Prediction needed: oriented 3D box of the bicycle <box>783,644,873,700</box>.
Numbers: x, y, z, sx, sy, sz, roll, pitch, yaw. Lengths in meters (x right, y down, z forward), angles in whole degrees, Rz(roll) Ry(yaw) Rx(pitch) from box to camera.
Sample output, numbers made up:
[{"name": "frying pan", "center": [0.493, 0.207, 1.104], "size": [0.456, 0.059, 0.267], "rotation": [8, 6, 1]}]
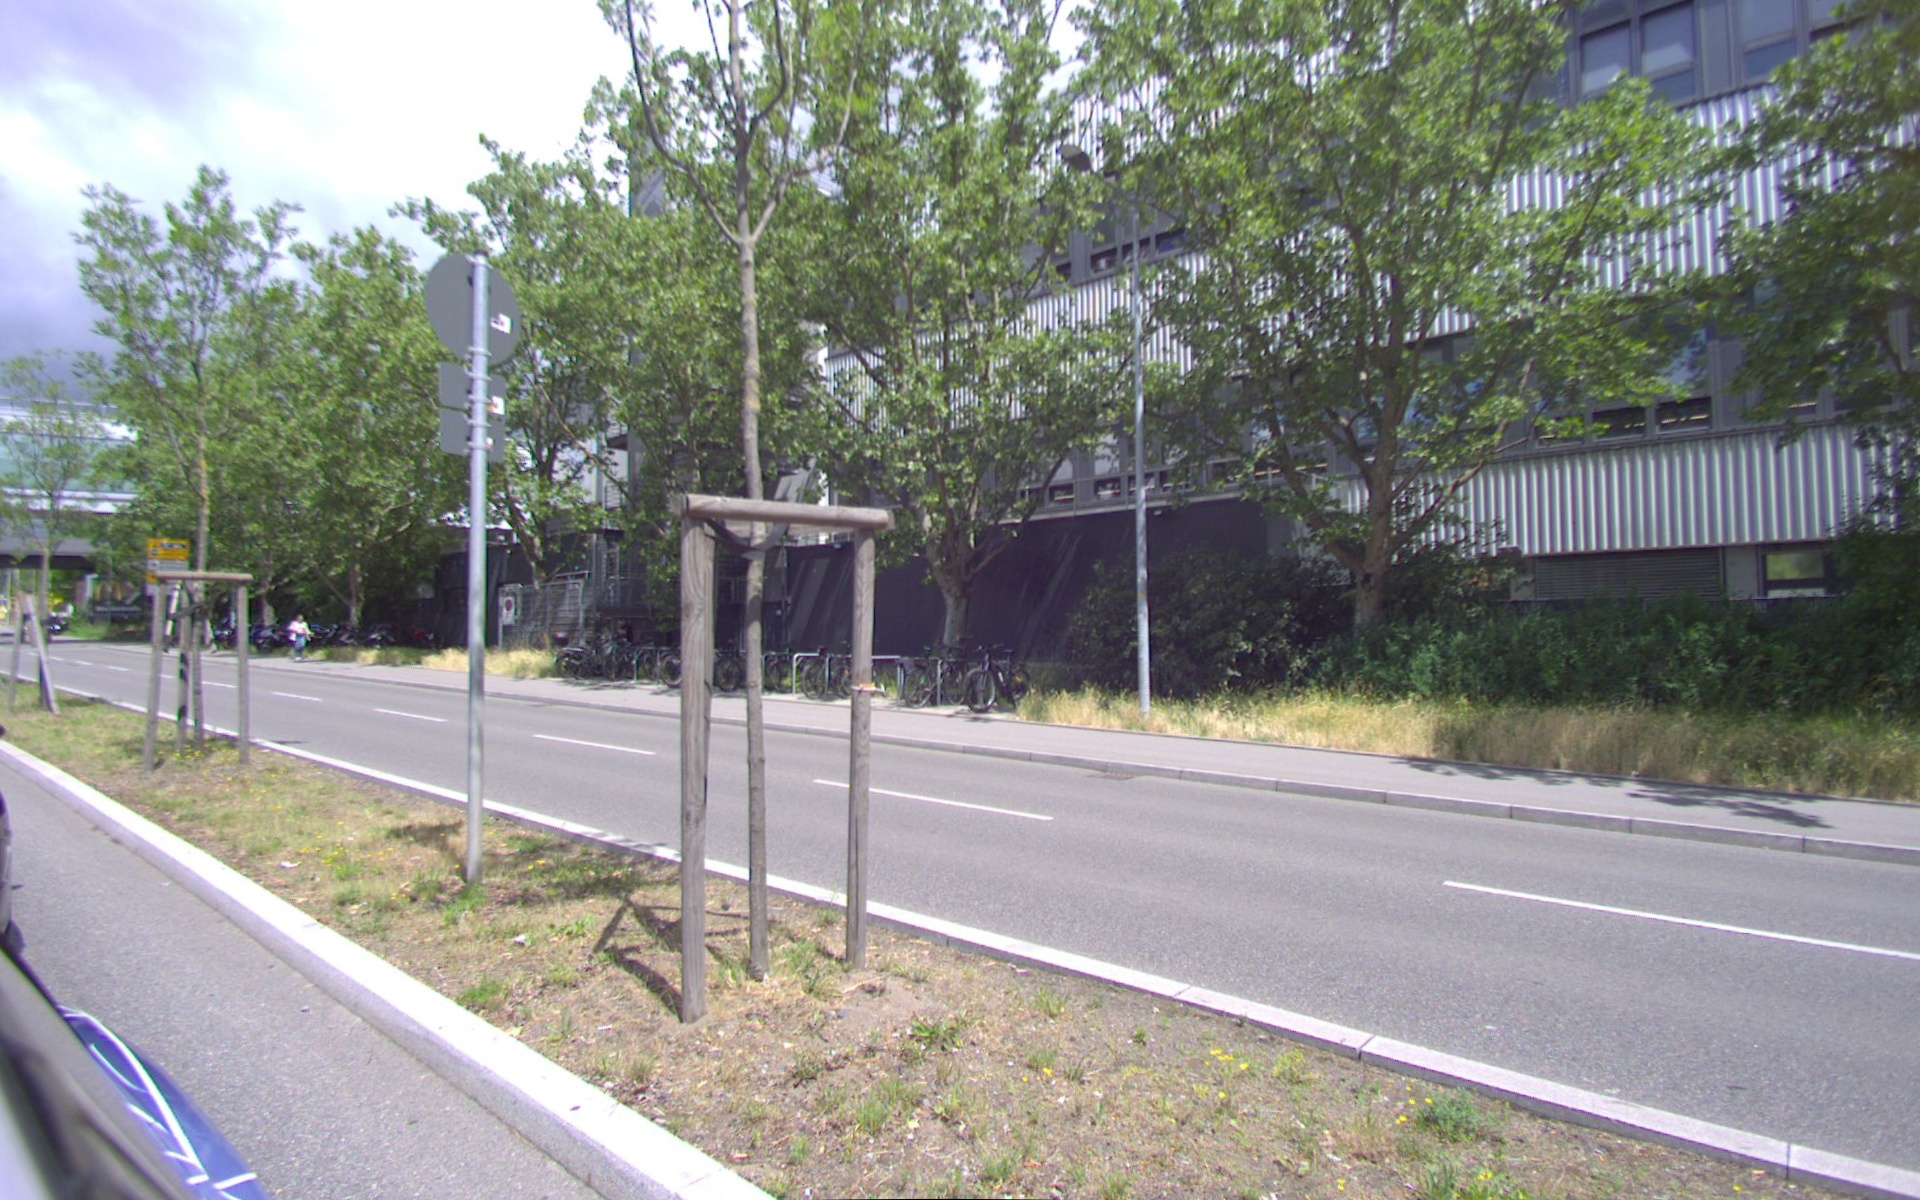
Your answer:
[{"name": "bicycle", "center": [-2.736, 1.479, 21.128], "size": [0.382, 1.038, 2.101], "rotation": [-2, -1, 43]}]

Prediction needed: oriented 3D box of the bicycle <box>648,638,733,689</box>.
[{"name": "bicycle", "center": [-6.474, 1.511, 24.406], "size": [0.382, 1.119, 2.101], "rotation": [-2, -1, 43]}]

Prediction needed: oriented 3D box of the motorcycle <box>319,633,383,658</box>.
[{"name": "motorcycle", "center": [-23.943, 1.788, 39.802], "size": [0.534, 0.905, 2.105], "rotation": [-2, -1, 41]}]

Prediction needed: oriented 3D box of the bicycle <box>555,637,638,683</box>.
[{"name": "bicycle", "center": [-9.539, 1.551, 26.623], "size": [0.382, 1.119, 2.101], "rotation": [-2, -1, 43]}]

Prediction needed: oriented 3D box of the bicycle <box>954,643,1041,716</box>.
[{"name": "bicycle", "center": [0.667, 1.338, 17.390], "size": [0.381, 1.137, 1.968], "rotation": [-2, -1, 39]}]

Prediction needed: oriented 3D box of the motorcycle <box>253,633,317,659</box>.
[{"name": "motorcycle", "center": [-27.395, 1.850, 41.097], "size": [0.534, 0.976, 2.105], "rotation": [-2, -1, 41]}]

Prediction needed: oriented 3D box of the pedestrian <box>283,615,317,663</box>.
[{"name": "pedestrian", "center": [-24.446, 1.430, 37.481], "size": [0.672, 1.734, 0.888], "rotation": [-2, -2, 41]}]

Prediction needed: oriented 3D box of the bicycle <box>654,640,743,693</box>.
[{"name": "bicycle", "center": [-5.983, 1.499, 23.256], "size": [0.382, 1.119, 2.101], "rotation": [-2, -1, 43]}]

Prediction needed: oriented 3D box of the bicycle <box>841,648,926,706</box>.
[{"name": "bicycle", "center": [-1.462, 1.476, 19.699], "size": [0.381, 1.005, 1.968], "rotation": [-2, -1, 39]}]

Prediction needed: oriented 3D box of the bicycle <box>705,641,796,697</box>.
[{"name": "bicycle", "center": [-4.536, 1.479, 22.009], "size": [0.382, 1.119, 2.101], "rotation": [-2, -1, 43]}]

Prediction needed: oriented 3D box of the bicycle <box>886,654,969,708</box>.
[{"name": "bicycle", "center": [-0.590, 1.520, 19.213], "size": [0.381, 0.897, 1.968], "rotation": [-2, -1, 39]}]

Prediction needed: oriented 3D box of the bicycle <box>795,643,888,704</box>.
[{"name": "bicycle", "center": [-2.333, 1.434, 20.220], "size": [0.382, 1.104, 2.101], "rotation": [-2, -1, 43]}]

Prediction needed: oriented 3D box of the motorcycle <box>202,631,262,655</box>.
[{"name": "motorcycle", "center": [-32.145, 1.889, 44.718], "size": [0.534, 0.976, 2.105], "rotation": [-2, -1, 41]}]

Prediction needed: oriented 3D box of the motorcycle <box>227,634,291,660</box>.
[{"name": "motorcycle", "center": [-28.929, 1.935, 41.800], "size": [0.534, 0.976, 2.105], "rotation": [-2, -1, 41]}]

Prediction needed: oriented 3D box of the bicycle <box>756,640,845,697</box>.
[{"name": "bicycle", "center": [-3.405, 1.456, 21.743], "size": [0.382, 1.119, 2.101], "rotation": [-2, -1, 43]}]

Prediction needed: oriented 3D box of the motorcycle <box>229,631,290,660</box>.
[{"name": "motorcycle", "center": [-29.777, 1.926, 43.045], "size": [0.534, 1.146, 2.105], "rotation": [-2, -1, 41]}]

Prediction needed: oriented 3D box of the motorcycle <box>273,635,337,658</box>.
[{"name": "motorcycle", "center": [-26.301, 1.859, 40.680], "size": [0.534, 0.892, 2.105], "rotation": [-2, -1, 41]}]

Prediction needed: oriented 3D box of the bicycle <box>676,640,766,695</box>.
[{"name": "bicycle", "center": [-5.326, 1.488, 22.659], "size": [0.382, 1.119, 2.101], "rotation": [-2, -1, 43]}]

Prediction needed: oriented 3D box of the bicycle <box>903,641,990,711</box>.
[{"name": "bicycle", "center": [-0.212, 1.335, 18.112], "size": [0.381, 1.137, 1.968], "rotation": [-2, -1, 39]}]

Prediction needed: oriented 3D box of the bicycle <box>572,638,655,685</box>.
[{"name": "bicycle", "center": [-8.898, 1.570, 26.078], "size": [0.382, 1.119, 2.101], "rotation": [-2, -1, 43]}]

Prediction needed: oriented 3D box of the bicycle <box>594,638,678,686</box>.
[{"name": "bicycle", "center": [-8.154, 1.531, 25.530], "size": [0.382, 1.119, 2.101], "rotation": [-2, -1, 43]}]
